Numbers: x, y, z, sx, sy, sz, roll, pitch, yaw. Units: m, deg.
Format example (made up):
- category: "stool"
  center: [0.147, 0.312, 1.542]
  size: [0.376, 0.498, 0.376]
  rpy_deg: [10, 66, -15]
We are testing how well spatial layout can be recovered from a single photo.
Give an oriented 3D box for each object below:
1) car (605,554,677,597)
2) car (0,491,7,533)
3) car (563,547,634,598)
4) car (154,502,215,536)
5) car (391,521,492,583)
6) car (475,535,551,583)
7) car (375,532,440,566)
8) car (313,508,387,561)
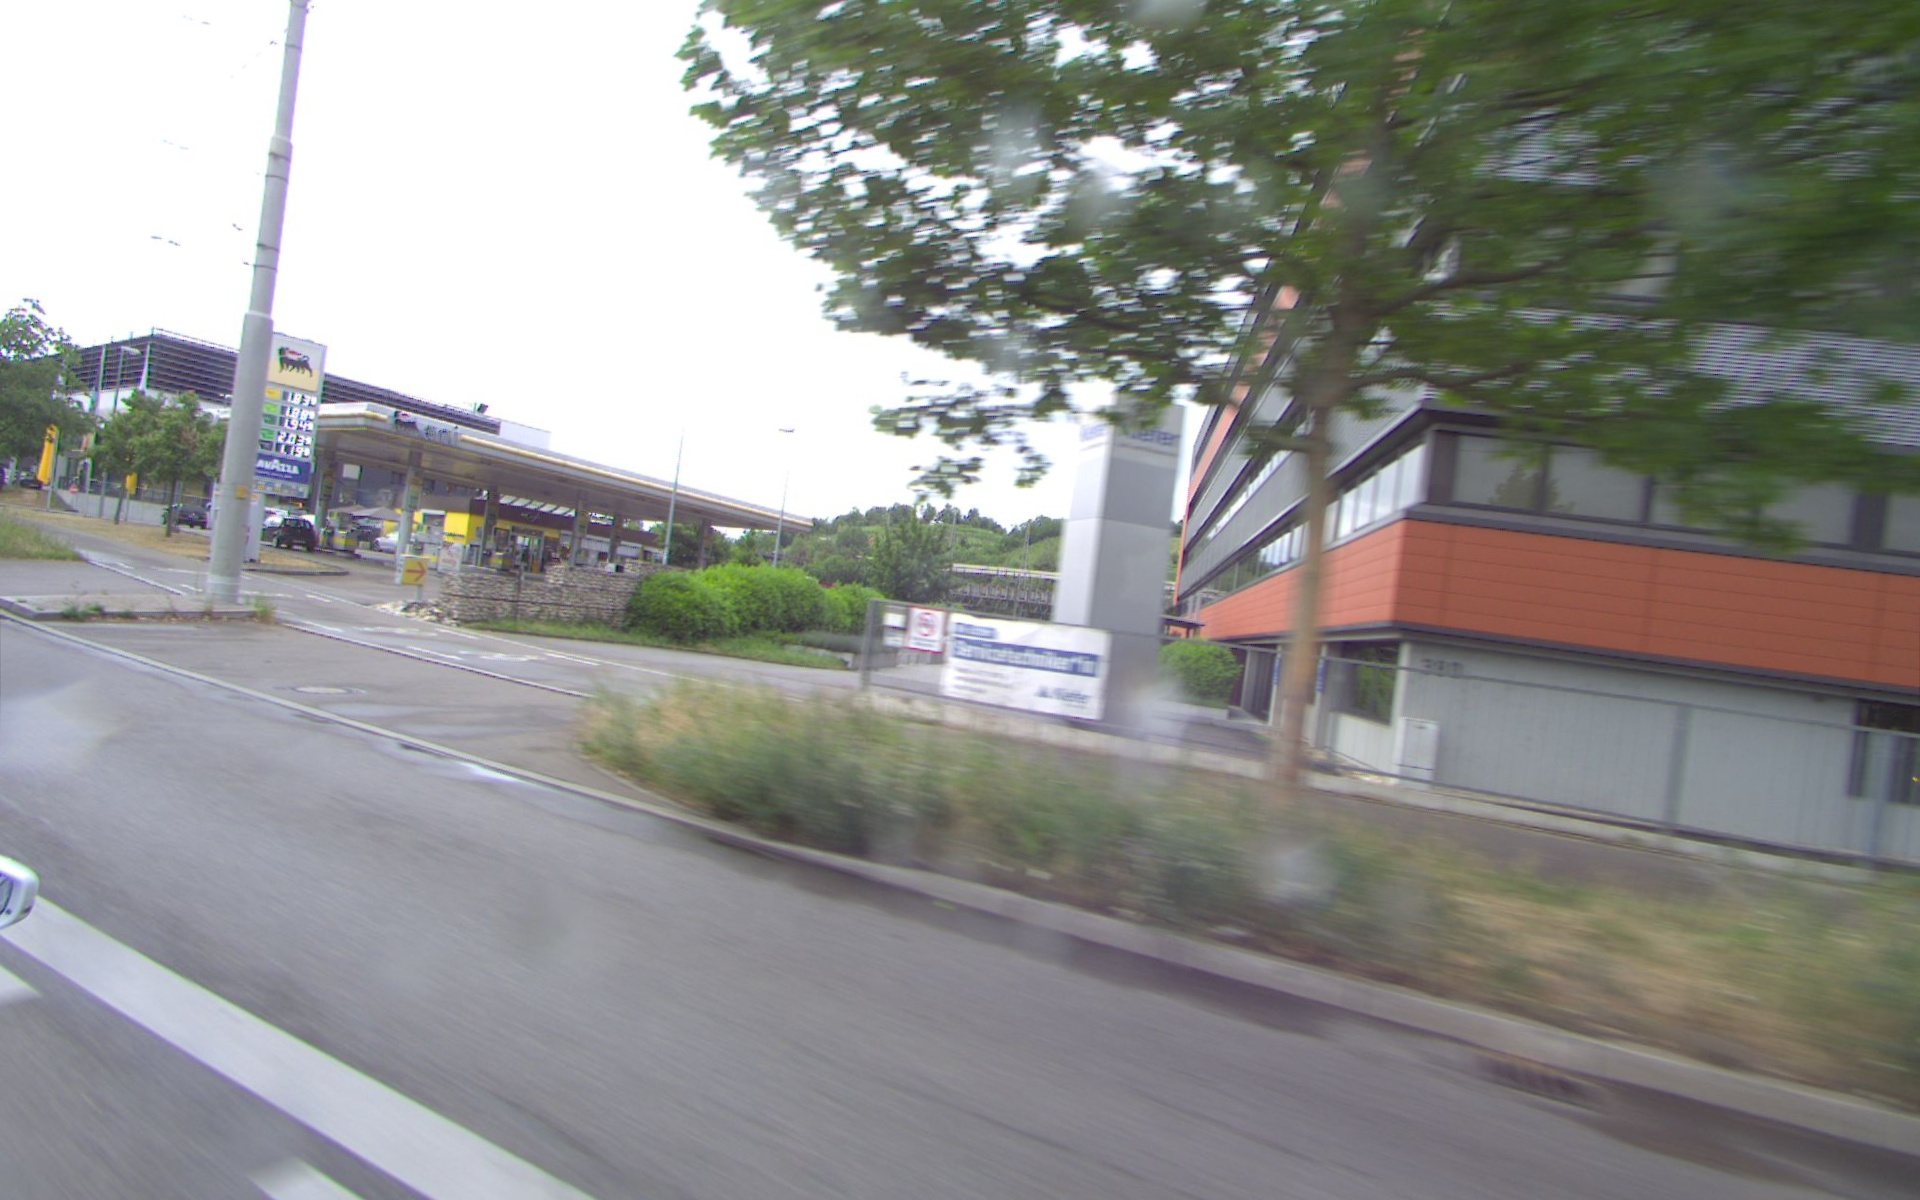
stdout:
- category: "car"
  center: [-19.981, -1.568, 63.052]
  size: [3.935, 2.035, 1.999]
  rpy_deg: [7, -3, 33]
- category: "car"
  center: [-14.302, -0.838, 13.047]
  size: [3.935, 1.675, 1.832]
  rpy_deg: [7, -2, 34]
- category: "car"
  center: [-18.052, -1.388, 50.188]
  size: [3.089, 2.035, 1.678]
  rpy_deg: [7, -3, 37]
- category: "car"
  center: [-47.742, -4.985, 61.902]
  size: [3.938, 1.610, 1.792]
  rpy_deg: [7, -1, 36]
- category: "car"
  center: [-21.967, -2.041, 42.593]
  size: [3.936, 2.057, 1.995]
  rpy_deg: [7, 0, 34]
- category: "car"
  center: [-24.710, -2.260, 55.610]
  size: [3.712, 2.035, 1.875]
  rpy_deg: [7, -3, 33]
- category: "car"
  center: [-35.089, -3.220, 63.857]
  size: [3.938, 1.615, 1.995]
  rpy_deg: [7, -1, 36]
- category: "car"
  center: [-29.159, -3.122, 48.071]
  size: [3.489, 2.035, 1.681]
  rpy_deg: [7, -3, 38]
